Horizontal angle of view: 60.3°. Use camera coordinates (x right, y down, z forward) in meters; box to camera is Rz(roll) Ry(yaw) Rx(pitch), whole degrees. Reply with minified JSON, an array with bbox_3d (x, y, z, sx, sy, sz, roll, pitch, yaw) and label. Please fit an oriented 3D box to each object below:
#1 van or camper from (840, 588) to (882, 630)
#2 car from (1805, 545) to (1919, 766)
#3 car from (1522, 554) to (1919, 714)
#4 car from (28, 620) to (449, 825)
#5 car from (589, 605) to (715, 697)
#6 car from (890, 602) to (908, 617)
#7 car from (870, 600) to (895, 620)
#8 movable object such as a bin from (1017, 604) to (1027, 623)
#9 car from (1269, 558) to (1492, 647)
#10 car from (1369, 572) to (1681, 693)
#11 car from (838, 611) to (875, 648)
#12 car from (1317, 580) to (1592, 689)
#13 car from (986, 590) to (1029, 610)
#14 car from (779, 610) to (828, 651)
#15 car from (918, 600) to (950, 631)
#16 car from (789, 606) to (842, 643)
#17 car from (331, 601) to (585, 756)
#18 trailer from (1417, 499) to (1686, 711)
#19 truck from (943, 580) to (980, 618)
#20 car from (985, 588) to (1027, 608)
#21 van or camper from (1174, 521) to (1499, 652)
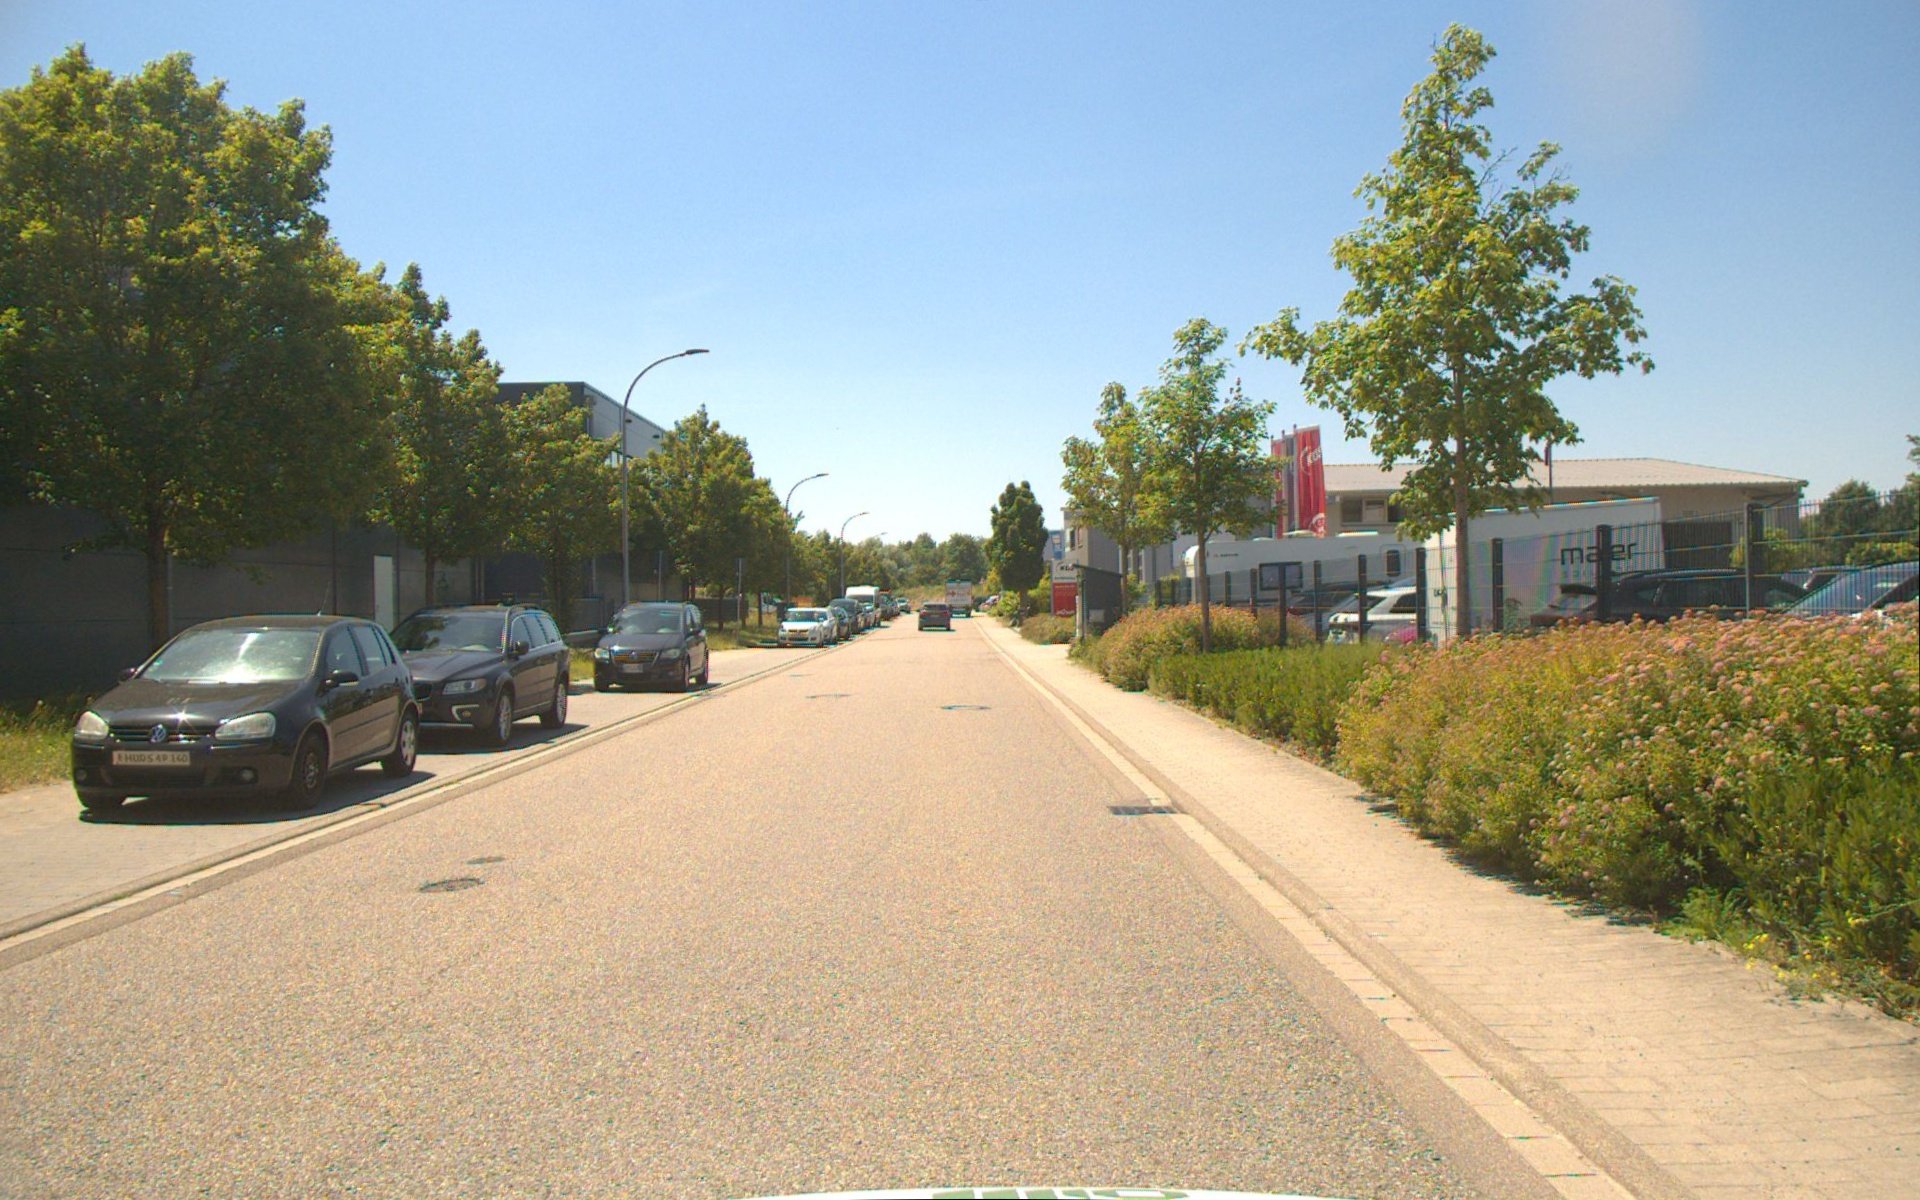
[{"bbox_3d":[-6.251,0.573,105.147,2.035,2.526,6.132,1,0,2],"label":"van or camper"},{"bbox_3d":[8.642,0.325,12.152,3.906,1.548,1.822,-2,0,-1],"label":"car"},{"bbox_3d":[8.534,0.345,18.273,3.959,1.530,1.918,-2,0,-1],"label":"car"},{"bbox_3d":[-5.860,0.912,14.055,1.735,1.456,4.200,1,-1,-1],"label":"car"},{"bbox_3d":[-5.915,0.929,32.210,1.735,1.640,4.246,-1,0,-2],"label":"car"},{"bbox_3d":[-6.700,1.054,182.721,1.762,1.513,4.253,-1,1,1],"label":"car"},{"bbox_3d":[-6.212,0.815,132.942,1.762,1.513,4.253,-1,1,1],"label":"car"},{"bbox_3d":[3.482,0.768,93.261,0.520,1.071,0.845,-2,0,1],"label":"movable object such as a bin"},{"bbox_3d":[8.576,0.058,33.939,4.054,1.563,1.808,-3,0,-1],"label":"car"},{"bbox_3d":[8.039,0.452,23.754,3.812,1.501,1.806,-3,0,-1],"label":"car"},{"bbox_3d":[-5.433,1.522,87.368,1.762,1.846,4.251,-1,0,-1],"label":"car"},{"bbox_3d":[7.832,0.532,26.425,3.765,1.465,1.805,-3,0,-4],"label":"car"},{"bbox_3d":[4.366,0.016,151.916,3.798,1.780,1.751,1,0,-3],"label":"car"},{"bbox_3d":[-6.045,1.168,64.096,1.686,1.502,3.855,-1,0,-3],"label":"car"},{"bbox_3d":[-1.442,0.868,92.316,1.753,1.652,3.808,1,0,-1],"label":"car"},{"bbox_3d":[-6.020,1.003,69.359,1.762,1.502,4.554,-1,0,0],"label":"car"},{"bbox_3d":[-5.960,0.848,20.265,1.735,1.640,4.850,-1,0,-2],"label":"car"},{"bbox_3d":[7.406,0.053,20.842,2.767,2.445,1.418,-3,0,-5],"label":"trailer"},{"bbox_3d":[0.122,-0.073,136.653,2.873,3.026,6.419,1,0,0],"label":"truck"},{"bbox_3d":[4.303,-0.206,154.383,3.798,1.780,1.751,1,0,-3],"label":"car"},{"bbox_3d":[8.334,-0.302,37.160,6.620,2.630,2.635,-2,0,-1],"label":"van or camper"}]
